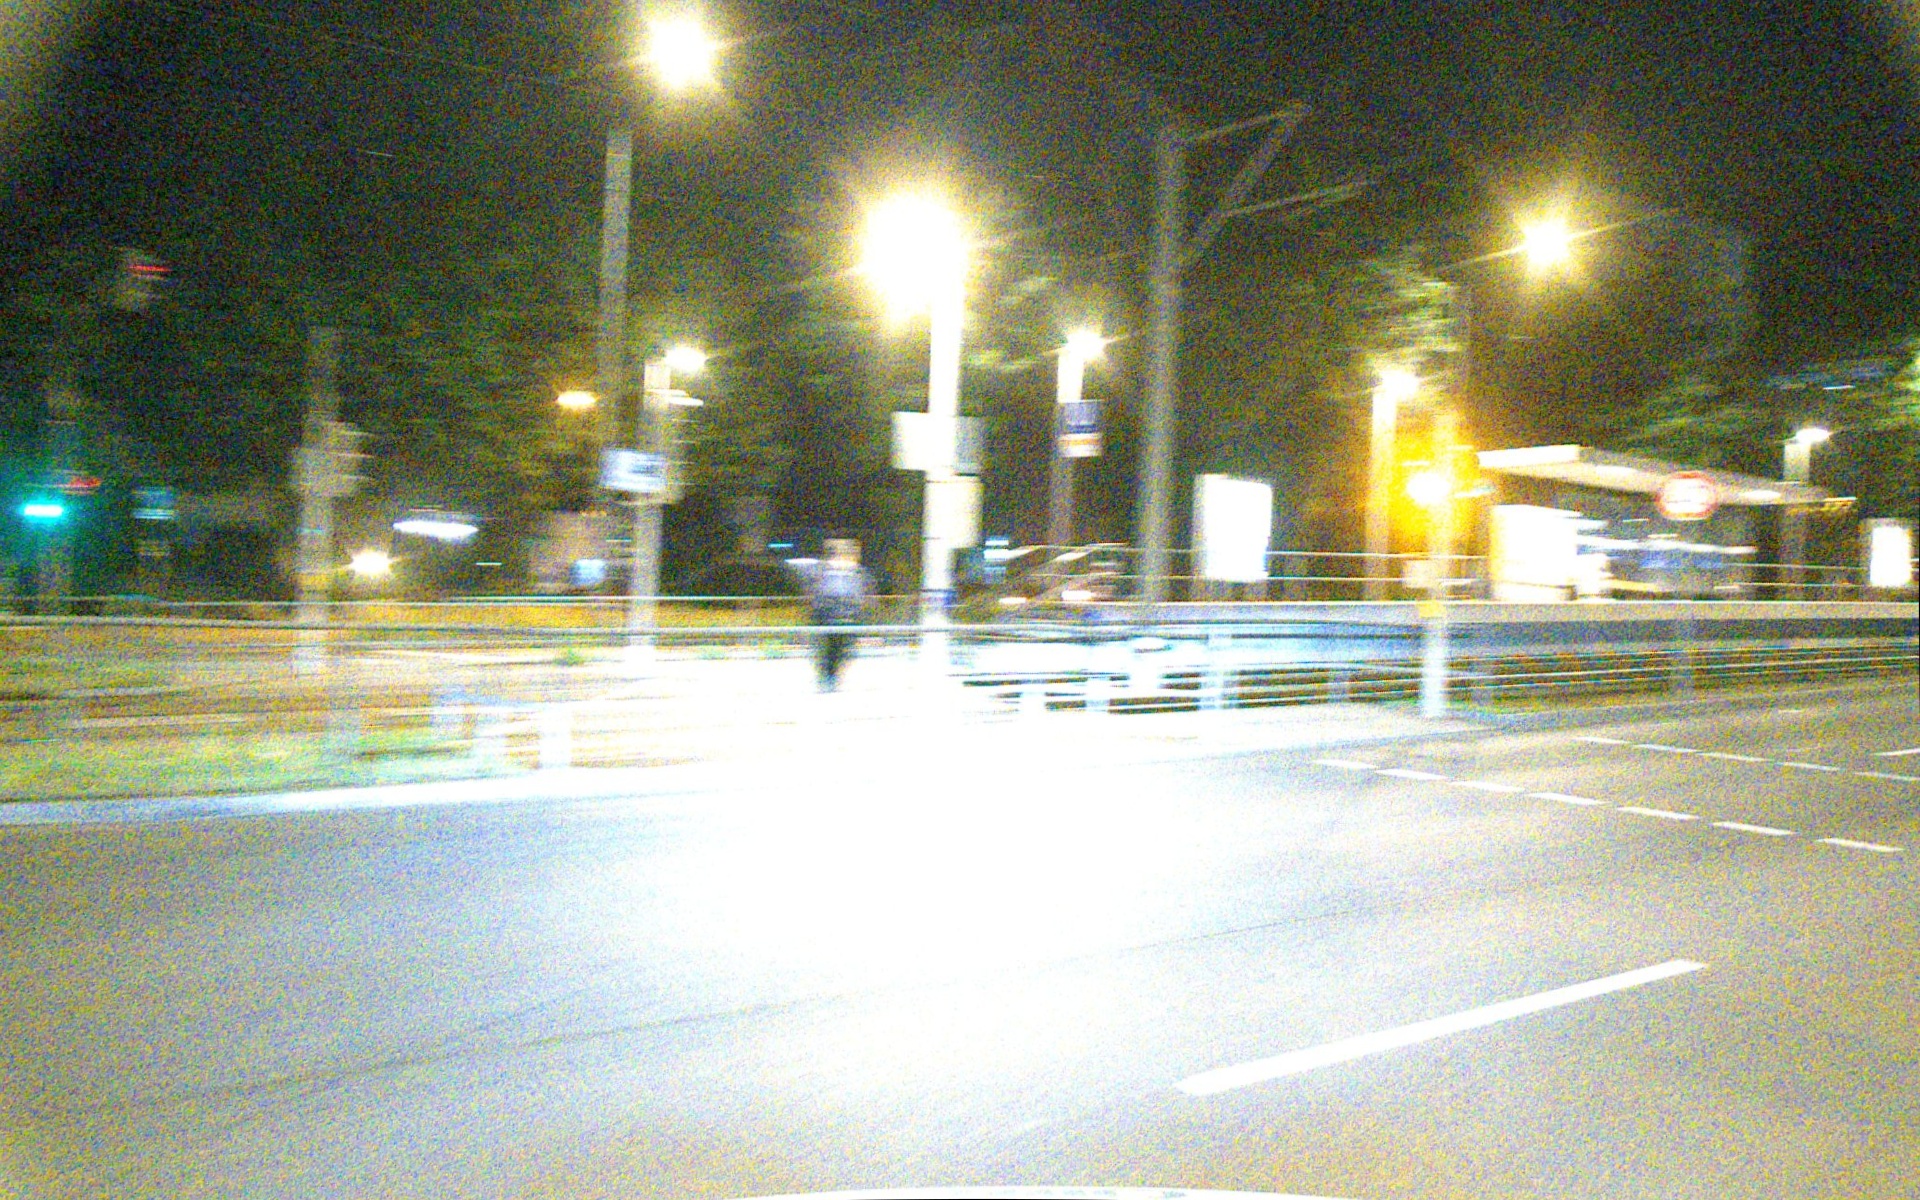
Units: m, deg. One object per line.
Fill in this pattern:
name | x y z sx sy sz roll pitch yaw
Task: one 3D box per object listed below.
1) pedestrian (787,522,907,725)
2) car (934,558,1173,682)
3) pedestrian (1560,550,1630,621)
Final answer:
pedestrian | -1.030 0.183 15.054 0.750 1.774 0.821 -2 3 -41
car | 1.714 0.305 29.957 3.955 2.049 1.975 -2 1 -36
pedestrian | 13.892 -0.312 36.230 1.119 1.526 1.077 0 0 -1
